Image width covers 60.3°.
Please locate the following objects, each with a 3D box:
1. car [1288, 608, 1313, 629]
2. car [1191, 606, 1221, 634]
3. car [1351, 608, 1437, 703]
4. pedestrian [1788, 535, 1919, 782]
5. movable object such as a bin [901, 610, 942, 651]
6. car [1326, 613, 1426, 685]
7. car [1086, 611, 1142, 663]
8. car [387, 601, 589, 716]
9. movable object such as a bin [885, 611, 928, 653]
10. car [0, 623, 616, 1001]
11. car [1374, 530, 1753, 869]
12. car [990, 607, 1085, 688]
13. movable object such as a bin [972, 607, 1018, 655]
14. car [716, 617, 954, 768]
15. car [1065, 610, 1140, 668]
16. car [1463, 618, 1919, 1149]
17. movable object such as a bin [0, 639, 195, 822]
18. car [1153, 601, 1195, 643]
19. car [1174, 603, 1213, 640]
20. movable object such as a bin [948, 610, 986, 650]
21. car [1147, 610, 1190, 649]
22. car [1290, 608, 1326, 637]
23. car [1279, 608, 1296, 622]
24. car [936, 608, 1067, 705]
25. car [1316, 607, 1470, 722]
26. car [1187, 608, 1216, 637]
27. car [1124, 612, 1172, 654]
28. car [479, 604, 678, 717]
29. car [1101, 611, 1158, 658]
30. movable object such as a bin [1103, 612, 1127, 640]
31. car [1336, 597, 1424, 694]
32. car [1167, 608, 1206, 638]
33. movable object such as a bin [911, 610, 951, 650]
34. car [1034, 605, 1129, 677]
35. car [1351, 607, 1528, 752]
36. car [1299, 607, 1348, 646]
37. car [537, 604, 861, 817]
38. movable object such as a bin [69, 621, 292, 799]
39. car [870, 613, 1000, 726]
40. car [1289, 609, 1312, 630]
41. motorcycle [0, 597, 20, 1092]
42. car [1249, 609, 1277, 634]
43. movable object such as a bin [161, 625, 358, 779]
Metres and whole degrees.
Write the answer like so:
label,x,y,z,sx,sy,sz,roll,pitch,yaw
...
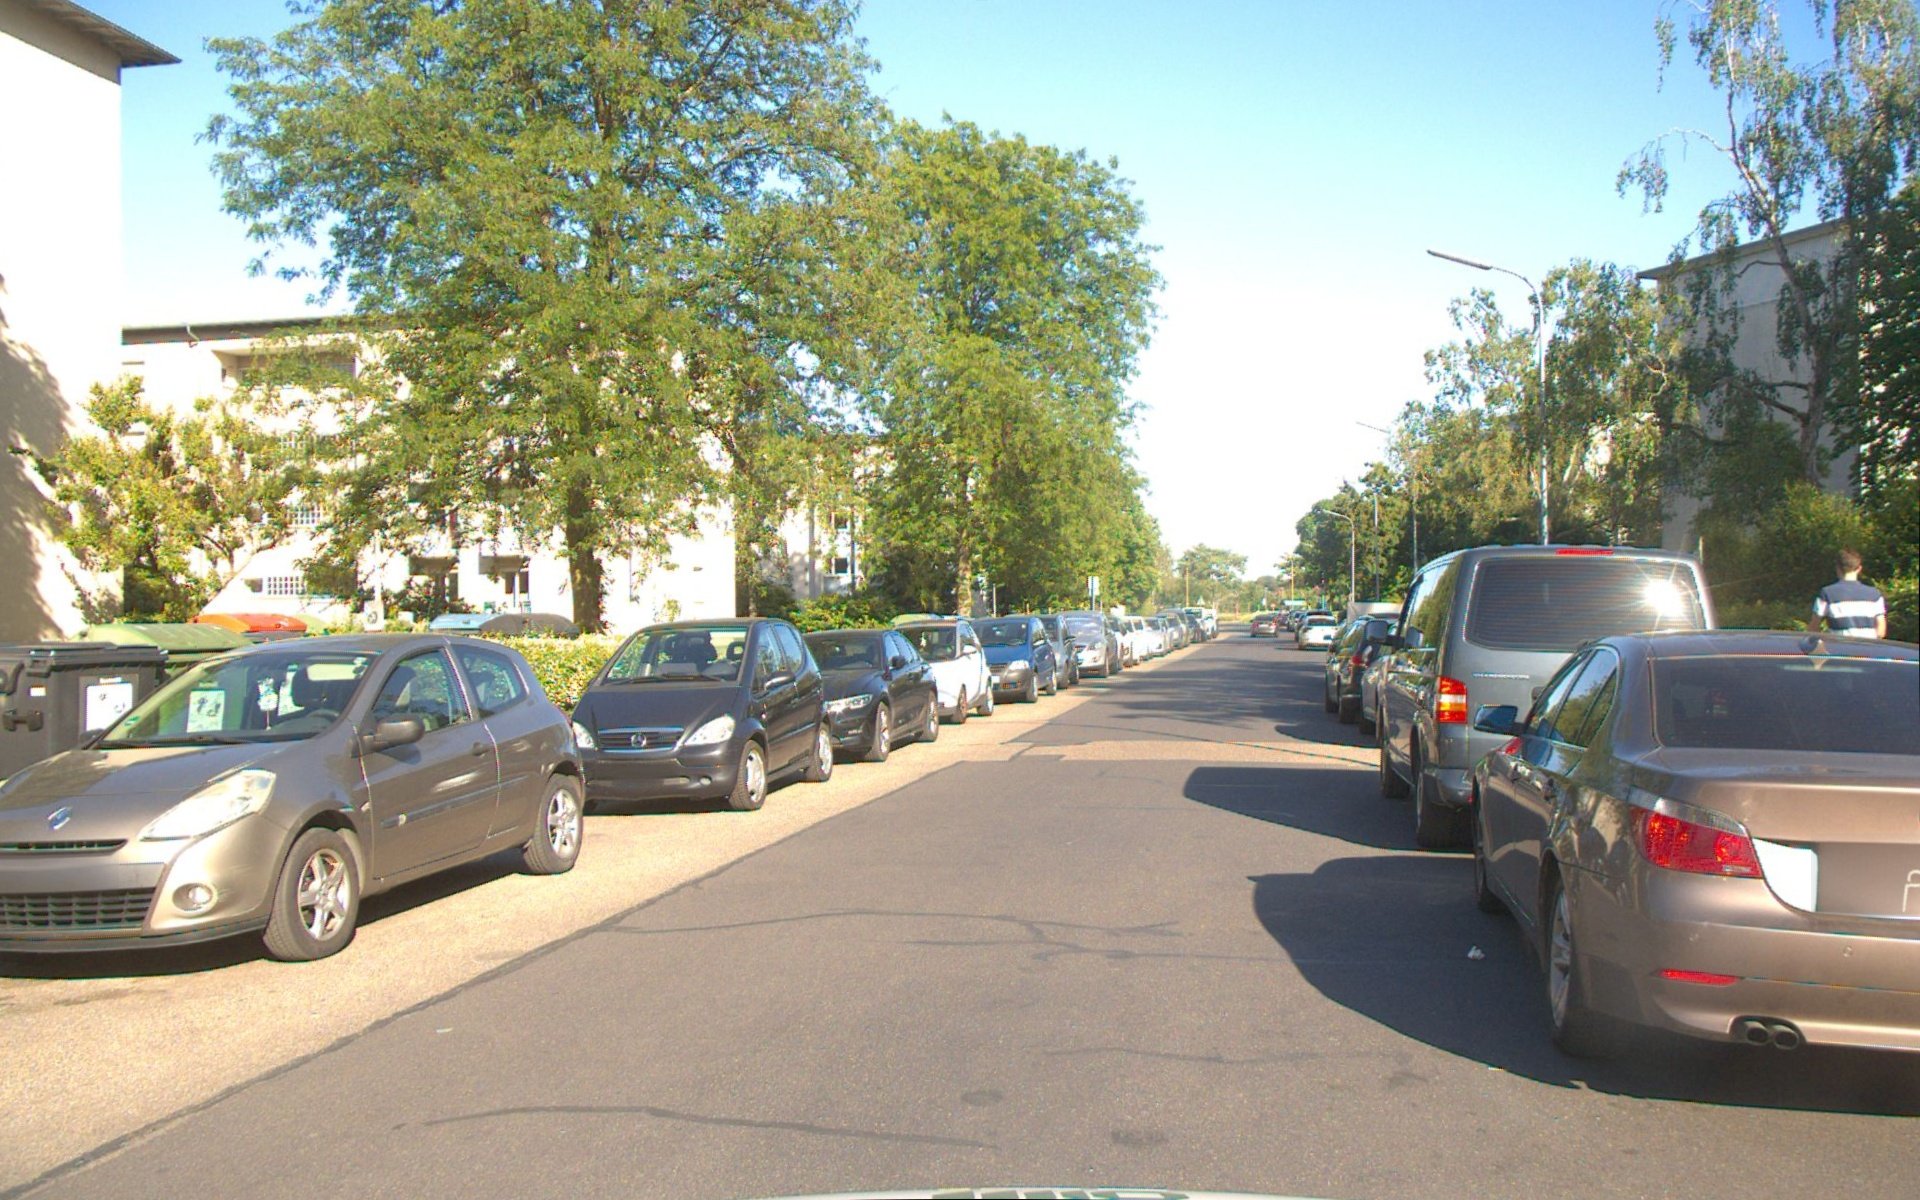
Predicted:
label,x,y,z,sx,sy,sz,roll,pitch,yaw
car,26.897,1.465,130.673,1.757,1.589,3.955,0,0,9
car,16.264,1.336,109.181,1.709,1.762,4.009,-2,-1,11
car,7.568,0.928,28.861,1.385,1.550,2.559,1,0,15
pedestrian,7.295,0.467,13.475,0.688,1.921,0.873,-3,-1,12
movable object such as a bin,-1.429,1.112,61.052,1.152,1.445,1.463,2,0,13
car,8.878,1.012,35.529,1.695,1.428,3.898,1,0,8
car,4.819,1.136,51.906,1.627,1.540,3.540,-2,-1,5
car,-7.371,0.871,26.229,1.537,1.670,4.003,0,0,9
movable object such as a bin,-1.909,1.138,59.330,1.152,1.445,1.463,2,0,13
car,-3.505,0.937,8.885,1.717,1.507,3.962,-3,-1,12
car,4.144,0.585,12.126,1.813,1.968,4.708,1,0,10
car,1.758,1.011,36.465,1.600,1.634,3.538,-2,-1,10
movable object such as a bin,1.080,0.938,50.898,1.112,1.407,1.443,2,0,12
car,-1.339,1.004,19.713,1.717,1.507,4.541,-3,-1,10
car,4.130,1.082,47.430,1.627,1.540,3.949,-2,-1,12
car,3.189,0.808,6.825,1.762,1.443,4.639,0,0,12
movable object such as a bin,-6.879,0.968,12.813,1.152,1.310,1.344,0,0,12
car,10.461,1.061,80.532,1.815,1.925,4.421,-2,-1,9
car,13.521,1.234,95.666,1.874,1.997,5.092,-2,-1,11
movable object such as a bin,0.271,1.137,62.856,1.110,1.445,1.362,2,0,12
car,9.384,1.296,74.272,1.673,1.628,3.989,-3,-1,9
car,19.159,1.227,91.194,1.867,1.557,4.331,0,0,11
car,36.676,1.689,185.300,1.757,1.576,3.955,0,0,9
car,0.856,1.015,31.198,1.717,1.634,3.972,-3,-1,12
car,6.356,0.888,24.684,1.695,1.516,4.505,-2,-1,8
car,15.146,1.398,103.683,1.709,1.699,4.381,-2,-1,8
car,7.305,1.257,64.018,1.650,1.532,3.821,-2,-1,9
car,-5.658,0.849,25.005,1.537,1.552,4.003,0,0,9
car,6.015,1.179,58.327,1.650,1.562,3.894,-2,-1,10
movable object such as a bin,8.110,1.347,86.654,1.078,1.445,1.362,2,0,11
car,7.978,0.840,31.576,1.457,1.748,2.585,1,0,10
car,12.303,1.241,89.657,1.709,1.560,4.142,-2,-1,13
movable object such as a bin,-1.079,1.130,62.533,1.152,1.445,1.463,2,0,13
car,3.124,0.997,41.821,1.862,1.668,4.352,-2,-1,11
car,5.582,0.856,19.637,1.588,1.516,4.039,1,0,10
car,15.212,1.096,69.344,1.716,1.540,4.107,1,0,9
car,-2.183,0.892,14.870,1.717,1.601,3.723,-3,-1,9
movable object such as a bin,-6.643,0.901,14.174,1.152,1.432,1.344,0,0,12
car,-0.332,1.040,26.010,1.414,1.601,3.145,-3,-1,10
car,30.118,1.688,146.291,1.757,1.818,3.955,0,0,9
motorcycle,-4.284,0.773,5.129,2.208,1.757,0.933,-3,-1,8
car,19.730,1.384,107.946,1.644,1.540,4.107,1,0,9
movable object such as a bin,-6.584,0.927,15.620,1.152,1.363,1.344,0,0,12
